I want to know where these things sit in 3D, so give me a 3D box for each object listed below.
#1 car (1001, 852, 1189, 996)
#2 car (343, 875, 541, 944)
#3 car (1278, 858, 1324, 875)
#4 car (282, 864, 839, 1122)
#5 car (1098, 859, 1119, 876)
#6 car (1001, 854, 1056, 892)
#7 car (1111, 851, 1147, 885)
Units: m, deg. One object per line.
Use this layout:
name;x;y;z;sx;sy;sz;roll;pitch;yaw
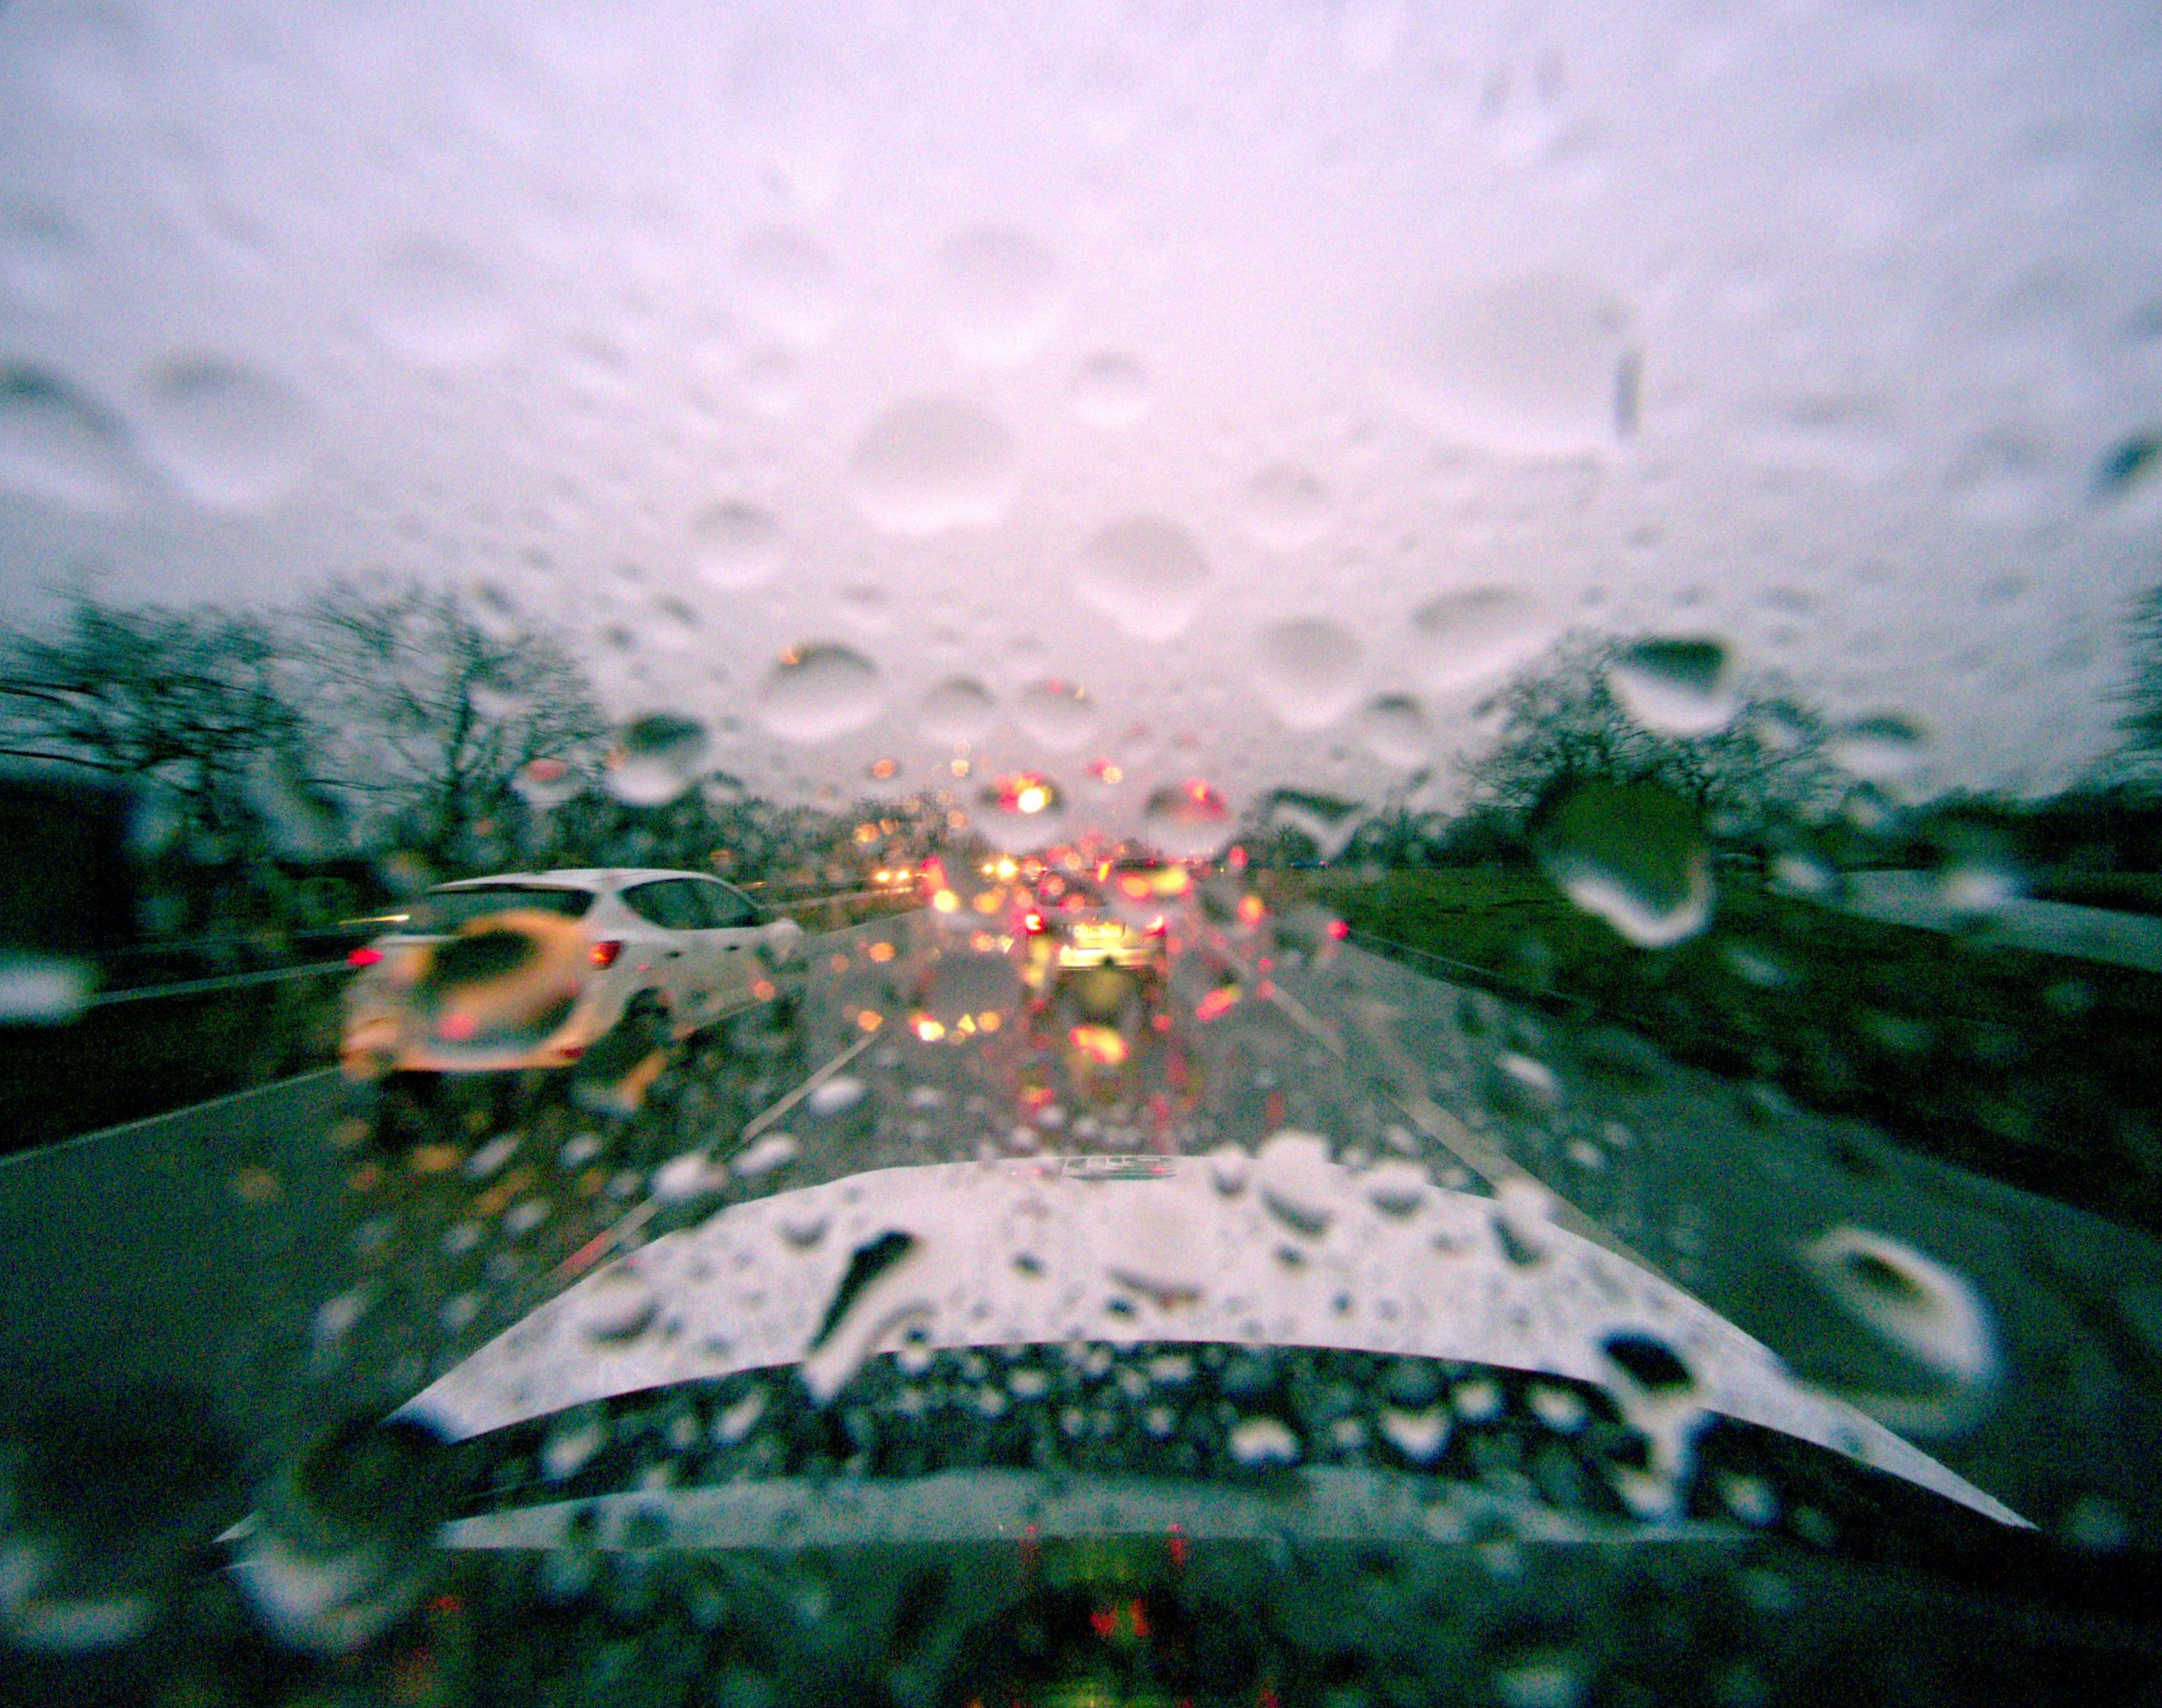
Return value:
car;0.280;0.777;10.816;1.985;1.500;4.141;-2;-1;4
car;-16.650;1.382;21.522;1.775;1.533;4.058;-2;-1;5
car;20.992;1.230;77.836;1.803;1.545;3.955;-1;-1;-36
car;-3.709;0.853;6.902;1.716;1.440;4.231;-2;0;5
car;2.748;1.299;80.554;1.781;1.545;4.005;-2;-1;4
car;-2.302;0.816;36.990;1.985;1.601;4.312;0;0;3
car;2.744;0.782;45.735;1.888;1.767;4.314;-2;-1;5
